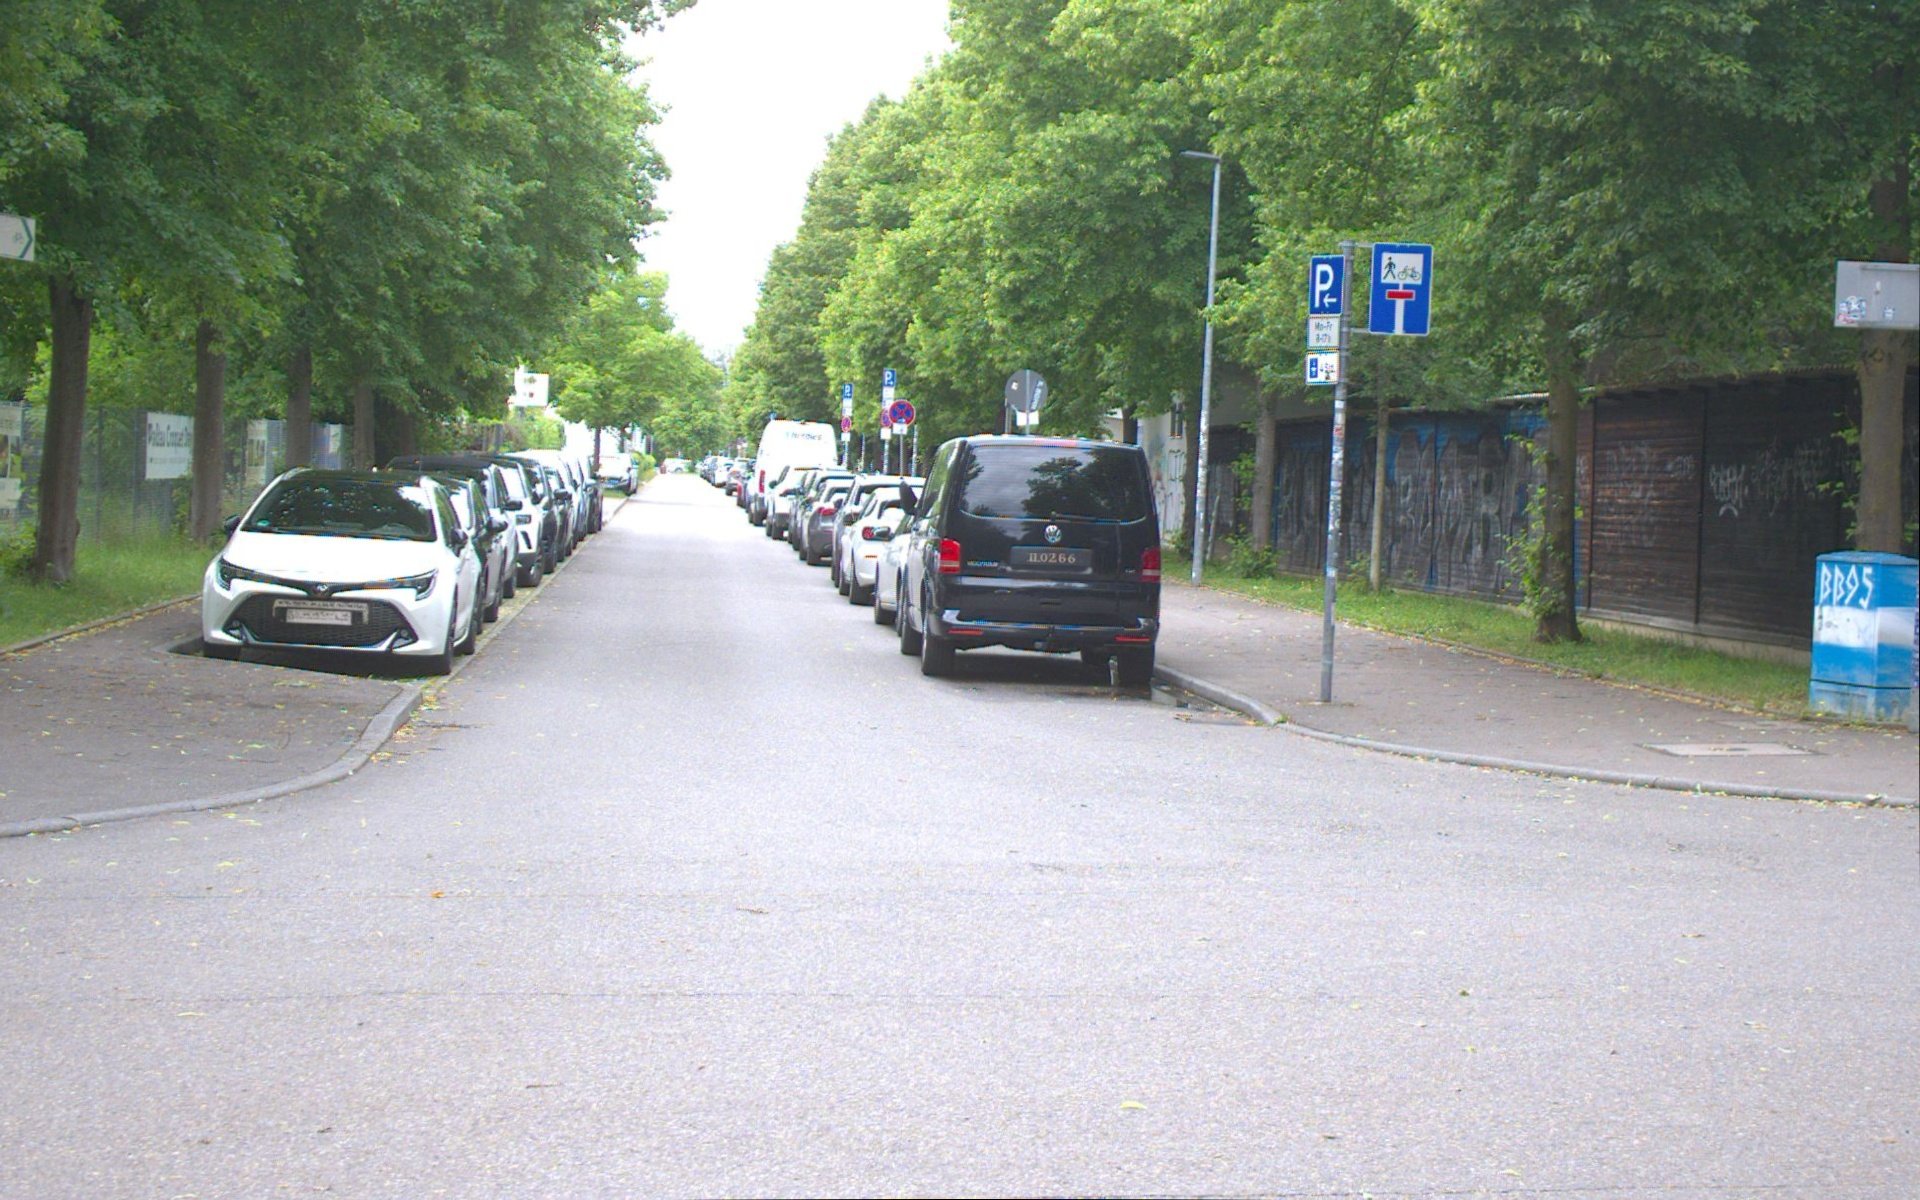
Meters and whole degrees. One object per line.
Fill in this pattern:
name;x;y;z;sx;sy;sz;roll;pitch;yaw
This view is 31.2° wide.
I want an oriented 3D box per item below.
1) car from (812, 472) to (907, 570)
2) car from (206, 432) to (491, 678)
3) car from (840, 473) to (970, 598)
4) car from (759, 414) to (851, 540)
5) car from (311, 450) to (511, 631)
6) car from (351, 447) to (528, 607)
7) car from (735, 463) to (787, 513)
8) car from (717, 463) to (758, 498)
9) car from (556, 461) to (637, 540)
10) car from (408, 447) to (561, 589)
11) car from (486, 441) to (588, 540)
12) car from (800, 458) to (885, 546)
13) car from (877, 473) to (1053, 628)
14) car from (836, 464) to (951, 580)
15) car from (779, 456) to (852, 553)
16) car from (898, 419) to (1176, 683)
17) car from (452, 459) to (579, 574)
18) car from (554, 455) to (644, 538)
car;-1.682;-1.321;56.667;1.469;1.526;3.189;1;2;-3
car;-4.512;-0.386;25.862;1.764;1.590;4.217;4;2;-7
car;-0.713;-0.830;42.820;1.469;1.476;3.189;1;2;-3
car;-3.898;-3.080;86.161;2.184;3.005;4.898;1;2;-3
car;-4.928;-0.574;31.207;1.545;1.450;3.667;4;2;-7
car;-5.762;-0.845;38.417;1.691;1.590;4.001;4;2;-6
car;-8.475;-4.750;146.613;1.993;2.007;4.000;1;1;-1
car;-11.616;-6.217;179.514;1.898;1.700;4.064;1;1;-1
car;-7.368;-2.027;69.673;1.593;1.554;3.194;0;2;-6
car;-5.921;-1.056;43.145;1.691;1.590;4.001;4;2;-6
car;-7.249;-1.882;59.081;1.593;1.554;3.194;4;2;-6
car;-2.153;-1.794;62.475;1.469;1.526;3.189;1;2;-3
car;0.008;-0.541;35.263;1.597;1.476;3.522;1;2;-3
car;-0.949;-1.105;47.907;1.469;1.526;3.189;1;2;-3
car;-3.067;-2.032;72.681;1.469;1.961;3.189;1;2;-3
car;0.561;-0.452;28.740;1.988;2.006;4.109;1;2;-3
car;-6.147;-1.180;47.820;1.593;1.452;3.194;4;2;-6
car;-6.710;-1.933;64.170;1.469;1.476;3.189;1;2;-3
